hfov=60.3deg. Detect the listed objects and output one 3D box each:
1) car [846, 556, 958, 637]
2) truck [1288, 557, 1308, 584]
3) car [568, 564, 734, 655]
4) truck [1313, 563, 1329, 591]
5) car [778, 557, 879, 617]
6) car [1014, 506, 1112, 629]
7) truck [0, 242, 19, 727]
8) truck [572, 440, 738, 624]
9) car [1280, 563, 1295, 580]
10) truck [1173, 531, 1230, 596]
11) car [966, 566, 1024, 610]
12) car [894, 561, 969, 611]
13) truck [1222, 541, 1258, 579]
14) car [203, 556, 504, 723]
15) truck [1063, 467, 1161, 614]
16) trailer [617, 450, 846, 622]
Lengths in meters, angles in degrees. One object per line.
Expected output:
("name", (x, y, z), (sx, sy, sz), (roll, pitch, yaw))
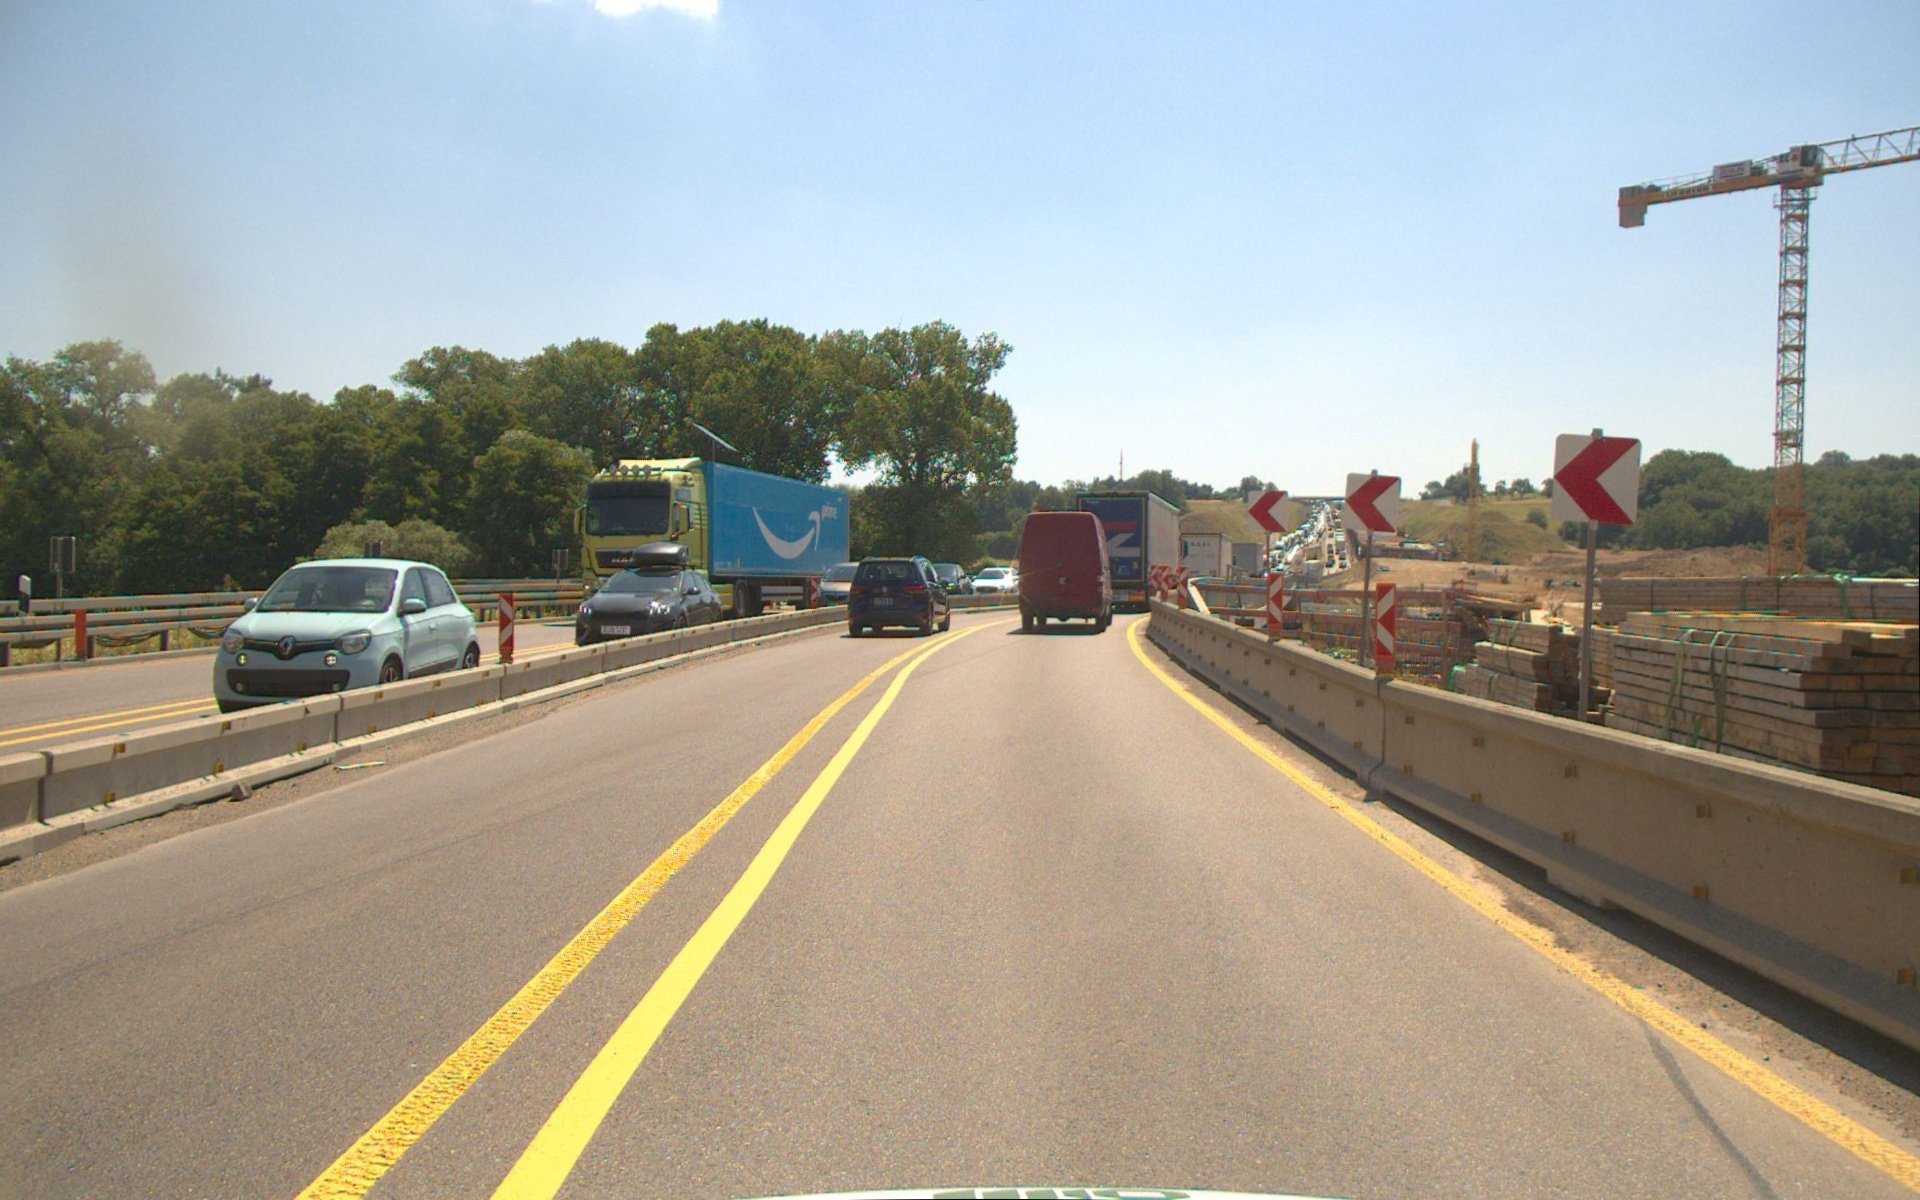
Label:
("car", (-1.196, -0.114, 36.248), (1.697, 1.664, 4.393), (1, 1, 8))
("truck", (40.872, -3.592, 199.958), (2.242, 3.252, 6.489), (0, 1, 11))
("car", (-5.408, 0.113, 29.557), (1.782, 1.460, 4.586), (1, 1, 4))
("truck", (53.309, -3.374, 244.557), (2.242, 3.805, 6.486), (0, -3, 12))
("car", (-3.701, -0.376, 47.353), (1.781, 1.612, 4.305), (1, 1, 11))
("car", (2.450, -0.691, 39.179), (2.105, 2.657, 5.441), (1, -1, 4))
("truck", (-10.057, -1.030, 7.622), (2.749, 4.418, 15.373), (1, 0, -1))
("truck", (-7.649, -1.639, 42.044), (2.569, 4.345, 4.736), (2, 0, 10))
("car", (35.702, -3.094, 180.098), (1.583, 1.729, 3.893), (1, 1, 12))
("truck", (15.618, -2.304, 106.521), (3.114, 4.059, 6.747), (1, 1, 12))
("car", (1.550, -0.556, 71.468), (1.781, 1.675, 4.575), (1, 3, 10))
("car", (-0.968, -0.521, 59.655), (1.841, 1.676, 4.719), (1, 1, 9))
("truck", (27.068, -3.798, 159.618), (3.115, 3.030, 8.905), (0, -3, 12))
("car", (-6.213, 0.314, 17.428), (1.602, 1.511, 4.002), (1, 2, 1))
("truck", (5.630, -2.100, 60.450), (2.882, 5.032, 6.747), (1, 1, 11))
("trailer", (-6.347, -1.651, 49.098), (2.591, 4.367, 13.320), (2, 0, 10))
